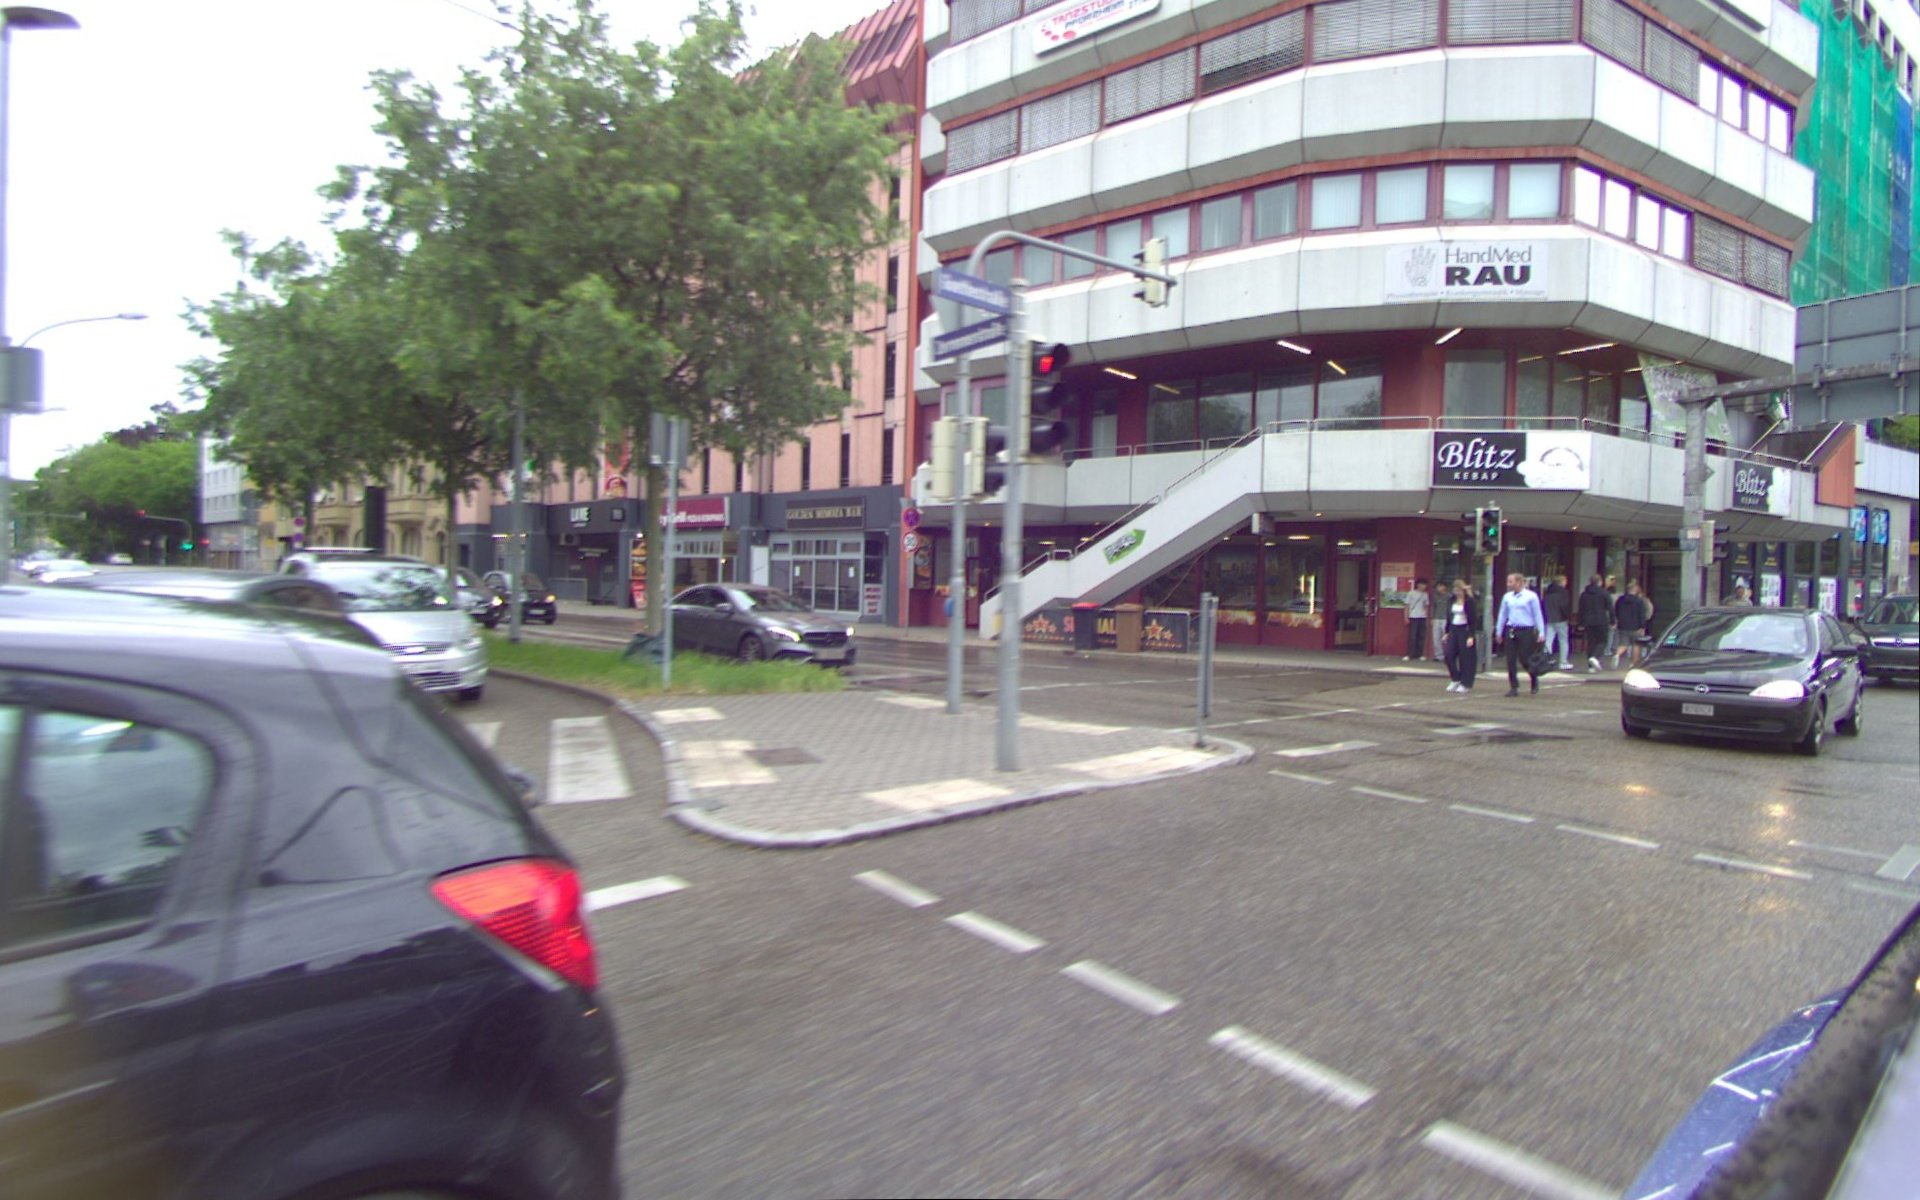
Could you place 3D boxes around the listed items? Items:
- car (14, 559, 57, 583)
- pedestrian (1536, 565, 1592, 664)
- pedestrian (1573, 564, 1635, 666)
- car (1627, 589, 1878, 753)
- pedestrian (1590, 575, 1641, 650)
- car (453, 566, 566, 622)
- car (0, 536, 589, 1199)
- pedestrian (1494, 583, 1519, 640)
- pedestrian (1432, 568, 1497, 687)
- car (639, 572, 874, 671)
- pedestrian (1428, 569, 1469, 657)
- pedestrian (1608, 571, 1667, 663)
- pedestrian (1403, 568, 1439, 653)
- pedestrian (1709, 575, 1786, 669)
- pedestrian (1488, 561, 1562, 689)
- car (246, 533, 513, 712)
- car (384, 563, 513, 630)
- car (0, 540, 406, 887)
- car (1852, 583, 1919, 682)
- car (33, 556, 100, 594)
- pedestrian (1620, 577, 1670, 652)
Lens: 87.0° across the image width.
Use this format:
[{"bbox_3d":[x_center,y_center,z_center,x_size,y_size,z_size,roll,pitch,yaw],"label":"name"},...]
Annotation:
[{"bbox_3d":[-60.764,-1.890,66.484,3.984,1.488,1.775,0,0,42],"label":"car"},{"bbox_3d":[12.031,0.271,20.151,0.664,1.919,0.734,-1,2,-36],"label":"pedestrian"},{"bbox_3d":[12.459,0.270,19.585,0.775,1.925,0.761,-1,2,-35],"label":"pedestrian"},{"bbox_3d":[8.637,0.648,10.929,3.566,1.459,1.594,1,0,-43],"label":"car"},{"bbox_3d":[15.452,0.285,23.860,0.952,1.727,0.591,1,2,-33],"label":"pedestrian"},{"bbox_3d":[-13.938,-0.174,31.230,3.986,1.571,1.780,-2,1,44],"label":"car"},{"bbox_3d":[-2.528,0.658,1.029,3.680,1.475,1.709,0,0,-44],"label":"car"},{"bbox_3d":[14.898,0.299,27.600,0.453,1.505,0.507,1,3,17],"label":"pedestrian"},{"bbox_3d":[7.813,0.404,15.685,0.663,1.795,0.625,-2,1,-28],"label":"pedestrian"},{"bbox_3d":[-3.538,0.278,17.152,4.258,1.437,1.760,2,1,43],"label":"car"},{"bbox_3d":[10.145,0.261,21.029,0.483,1.785,0.597,-2,2,-34],"label":"pedestrian"},{"bbox_3d":[13.735,0.320,20.511,0.872,1.802,0.750,-1,1,-38],"label":"pedestrian"},{"bbox_3d":[9.808,0.215,21.528,0.503,1.785,0.527,-2,2,-41],"label":"pedestrian"},{"bbox_3d":[16.249,0.434,20.894,0.789,1.799,0.900,-2,7,-31],"label":"pedestrian"},{"bbox_3d":[8.526,0.353,15.267,0.831,1.869,0.625,-2,1,-29],"label":"pedestrian"},{"bbox_3d":[-7.228,0.132,12.372,1.825,1.781,4.599,-1,3,-43],"label":"car"},{"bbox_3d":[-13.730,-0.144,27.076,3.987,1.616,1.857,3,2,44],"label":"car"},{"bbox_3d":[-4.994,0.468,6.205,1.958,1.495,4.008,0,1,-16],"label":"car"},{"bbox_3d":[18.162,0.567,18.724,4.170,1.700,1.735,0,0,-38],"label":"car"},{"bbox_3d":[-37.111,-1.057,42.016,3.987,1.487,1.774,3,2,44],"label":"car"},{"bbox_3d":[15.818,0.328,23.375,0.922,1.683,0.576,1,2,-33],"label":"pedestrian"}]
